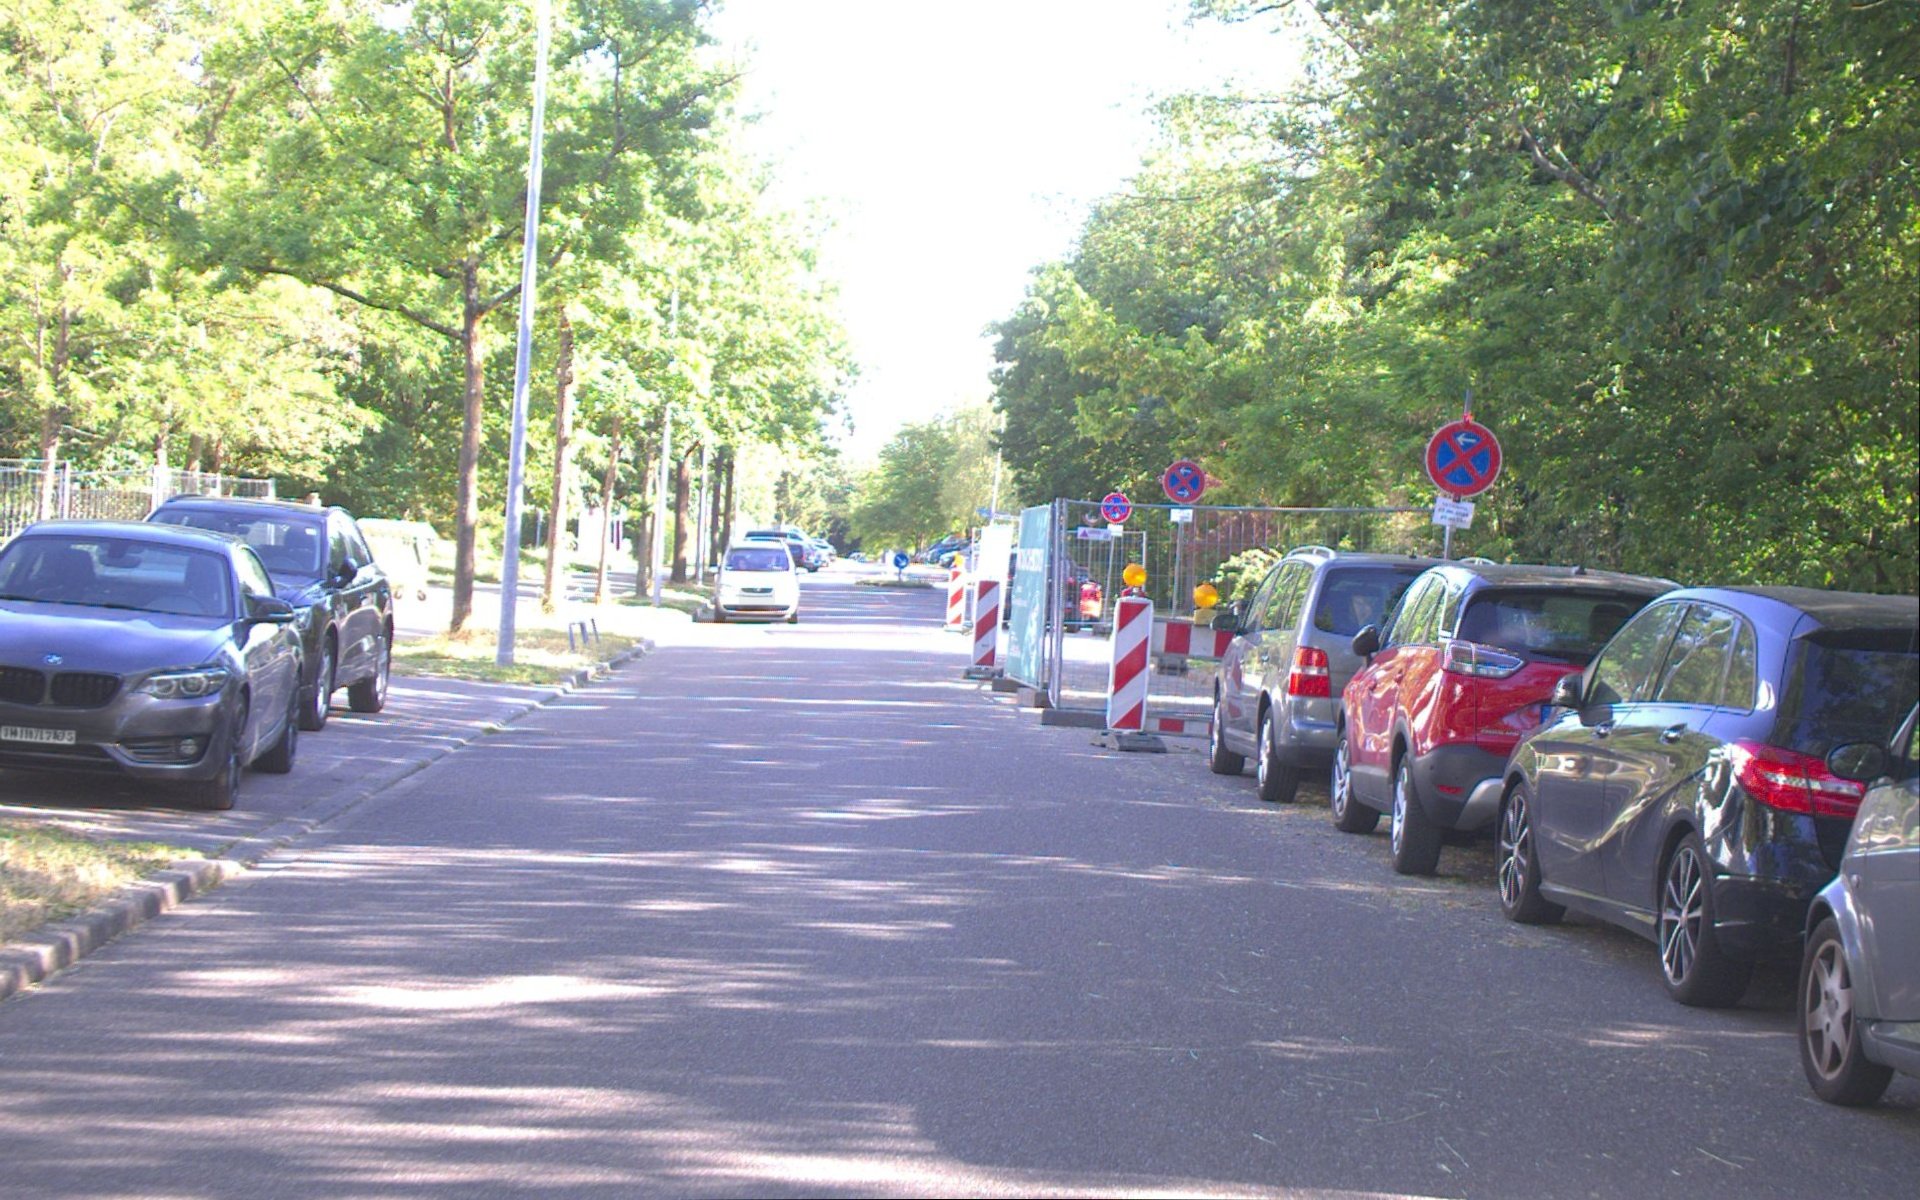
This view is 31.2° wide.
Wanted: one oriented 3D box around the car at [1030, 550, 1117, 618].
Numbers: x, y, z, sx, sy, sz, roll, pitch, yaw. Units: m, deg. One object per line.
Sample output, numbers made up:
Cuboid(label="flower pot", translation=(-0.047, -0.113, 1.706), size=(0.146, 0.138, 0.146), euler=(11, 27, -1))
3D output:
Cuboid(label="car", translation=(2.554, -0.385, 78.355), size=(1.661, 1.371, 4.155), euler=(4, 1, -1))

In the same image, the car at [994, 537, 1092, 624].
Cuboid(label="car", translation=(1.772, -0.424, 71.963), size=(1.810, 1.645, 4.420), euler=(4, 1, 3))

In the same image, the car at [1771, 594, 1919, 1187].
Cuboid(label="car", translation=(3.270, 0.800, 9.254), size=(1.494, 1.504, 2.677), euler=(4, 1, 1))

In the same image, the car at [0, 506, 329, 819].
Cuboid(label="car", translation=(-4.612, 0.257, 18.979), size=(1.716, 1.427, 4.138), euler=(4, 1, -5))

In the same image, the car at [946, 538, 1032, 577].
Cuboid(label="car", translation=(1.403, -2.007, 163.613), size=(3.839, 1.571, 1.688), euler=(4, 1, 6))

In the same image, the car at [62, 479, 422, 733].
Cuboid(label="car", translation=(-5.258, 0.003, 25.703), size=(1.775, 1.616, 4.221), euler=(4, 1, -1))

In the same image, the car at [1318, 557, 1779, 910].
Cuboid(label="car", translation=(3.030, 0.616, 18.495), size=(1.679, 1.568, 4.066), euler=(4, 1, 0))

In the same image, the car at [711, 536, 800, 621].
Cuboid(label="car", translation=(-4.101, -0.456, 69.331), size=(1.659, 1.590, 4.009), euler=(3, 1, -3))

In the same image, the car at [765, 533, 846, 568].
Cuboid(label="car", translation=(-8.267, -2.669, 184.343), size=(4.107, 1.571, 1.958), euler=(4, 1, 1))

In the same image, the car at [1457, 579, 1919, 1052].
Cuboid(label="car", translation=(3.321, 0.752, 13.764), size=(1.711, 1.504, 4.150), euler=(4, 1, -4))

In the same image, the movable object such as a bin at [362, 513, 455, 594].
Cuboid(label="movable object such as a bin", translation=(-10.139, -0.855, 63.266), size=(1.270, 1.430, 1.180), euler=(2, 1, 15))

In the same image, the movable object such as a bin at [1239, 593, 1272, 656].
Cuboid(label="movable object such as a bin", translation=(4.119, 0.335, 47.933), size=(0.413, 0.867, 0.484), euler=(1, 0, 0))

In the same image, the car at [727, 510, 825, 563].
Cuboid(label="car", translation=(-10.351, -3.572, 193.257), size=(5.199, 2.612, 2.294), euler=(4, 1, -6))

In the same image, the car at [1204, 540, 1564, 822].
Cuboid(label="car", translation=(2.741, 0.462, 23.101), size=(1.678, 1.616, 4.138), euler=(4, 1, -2))
